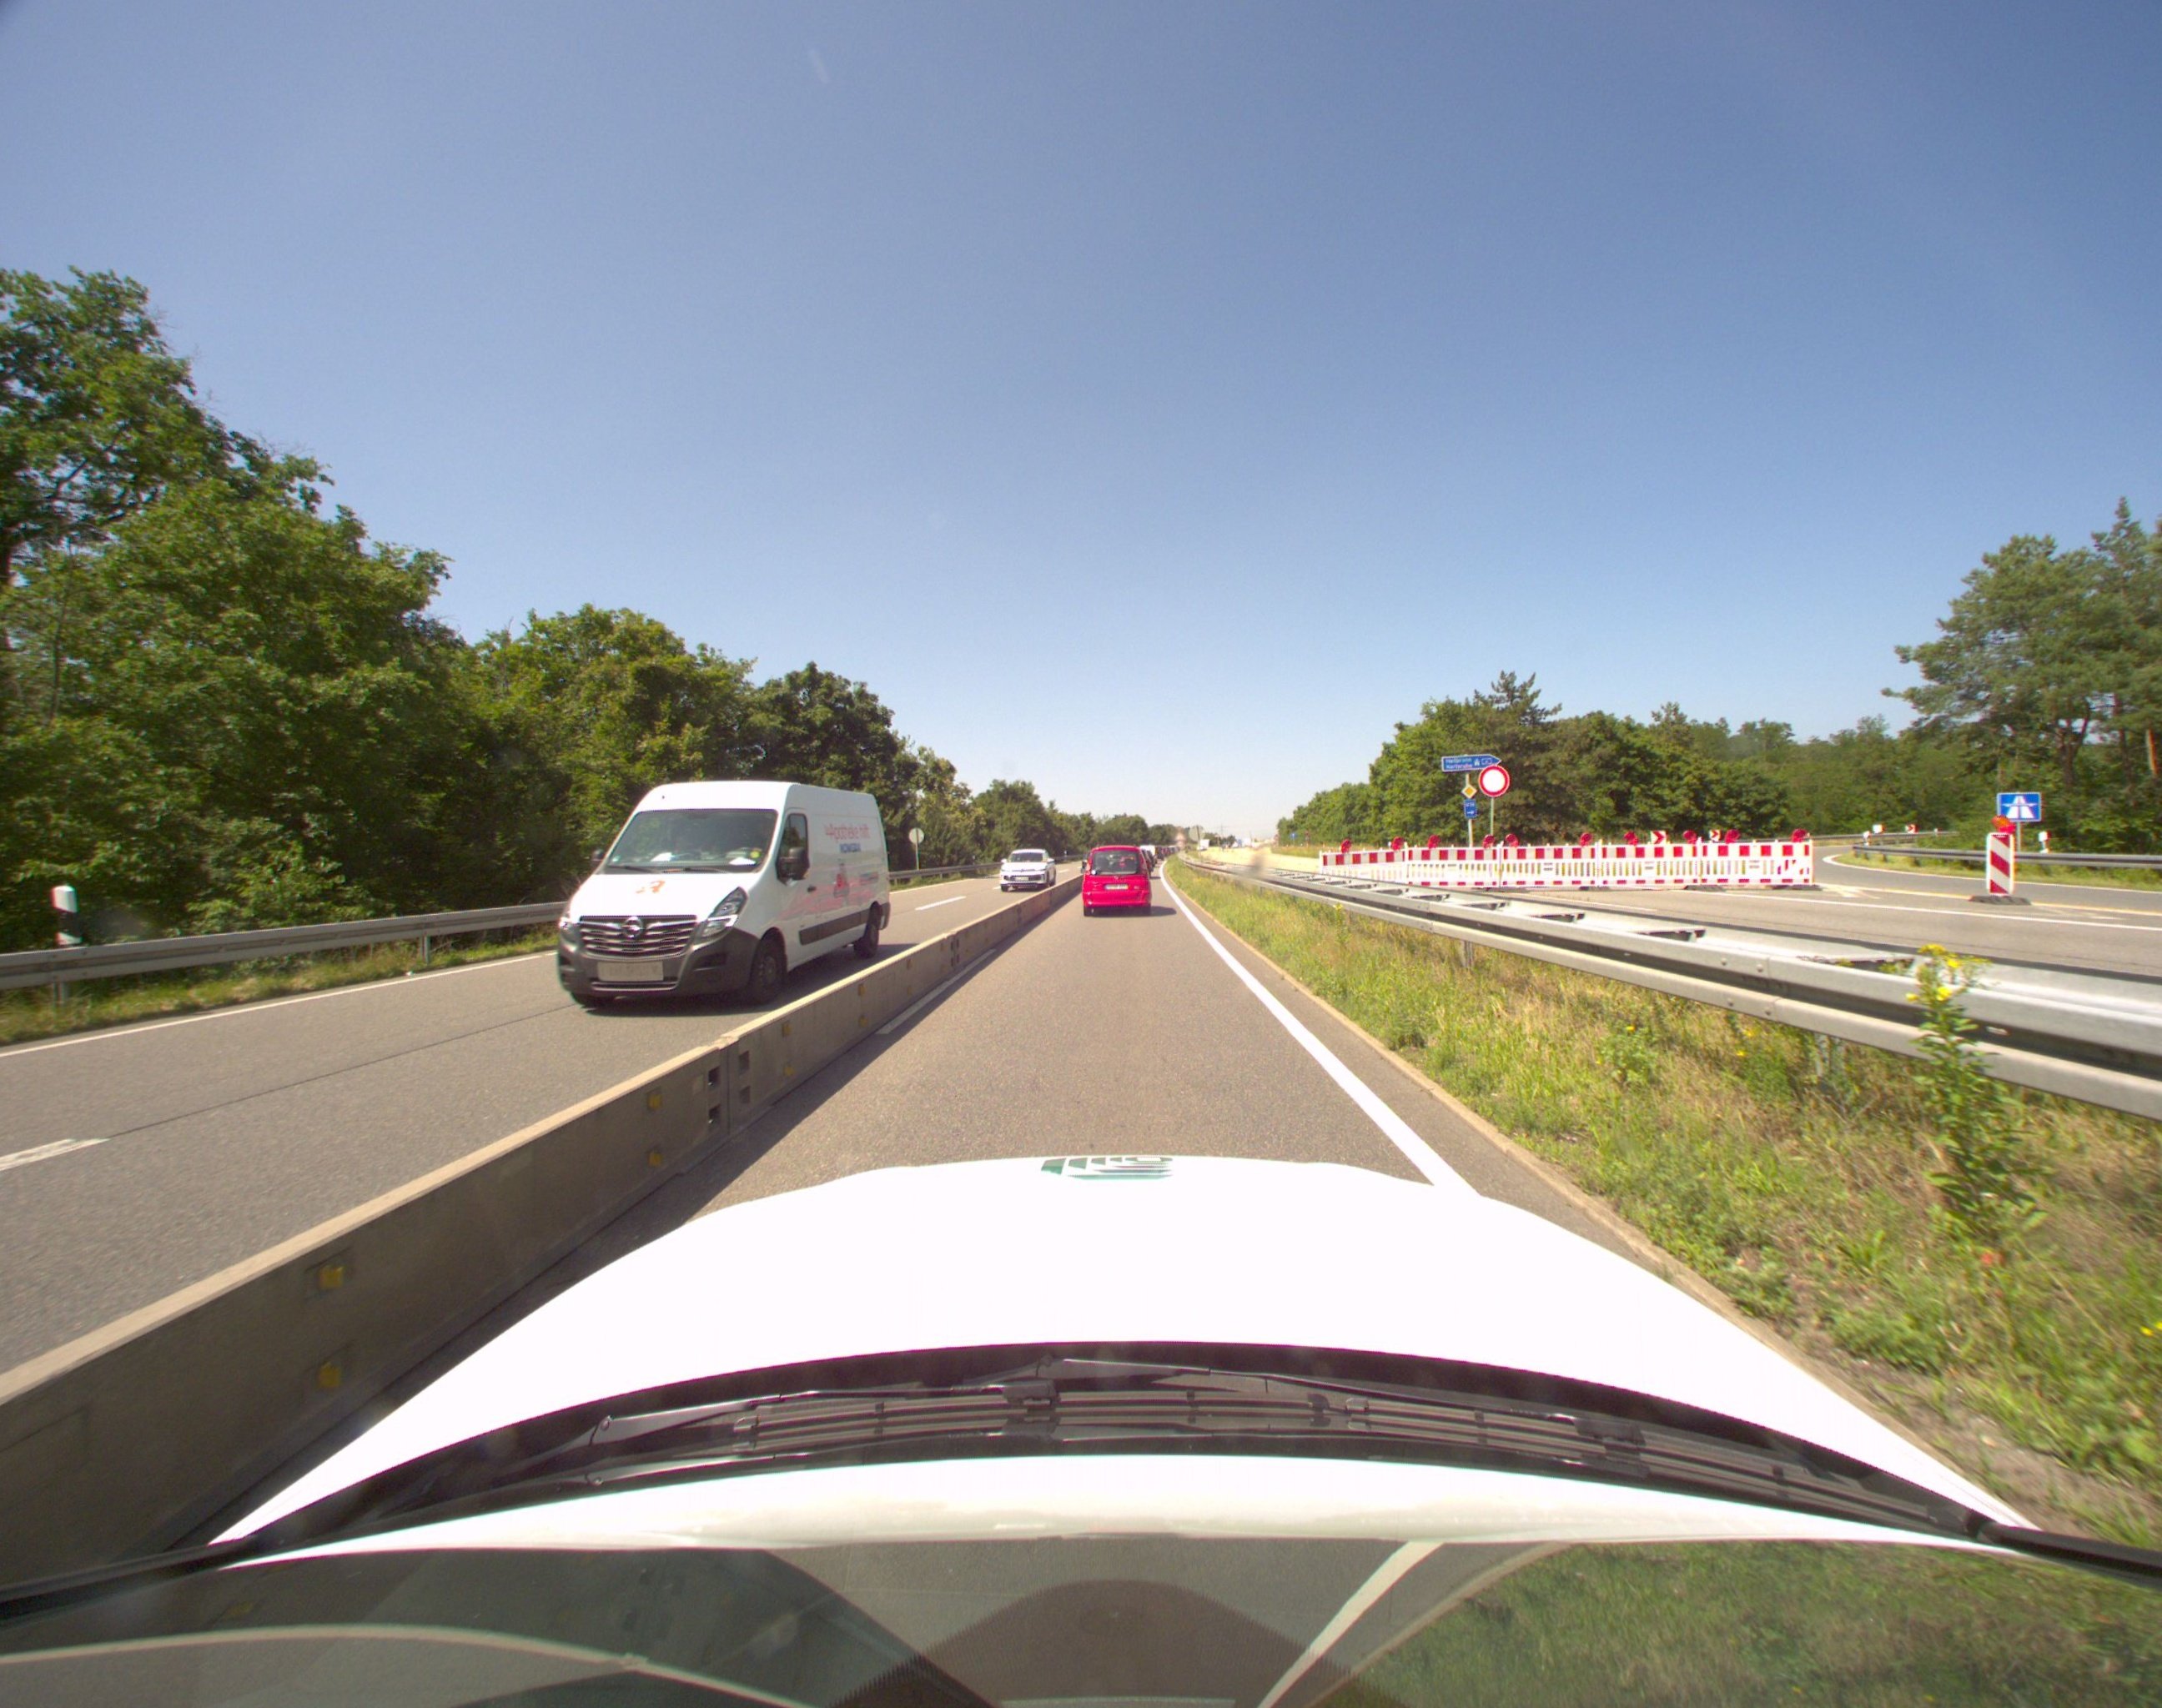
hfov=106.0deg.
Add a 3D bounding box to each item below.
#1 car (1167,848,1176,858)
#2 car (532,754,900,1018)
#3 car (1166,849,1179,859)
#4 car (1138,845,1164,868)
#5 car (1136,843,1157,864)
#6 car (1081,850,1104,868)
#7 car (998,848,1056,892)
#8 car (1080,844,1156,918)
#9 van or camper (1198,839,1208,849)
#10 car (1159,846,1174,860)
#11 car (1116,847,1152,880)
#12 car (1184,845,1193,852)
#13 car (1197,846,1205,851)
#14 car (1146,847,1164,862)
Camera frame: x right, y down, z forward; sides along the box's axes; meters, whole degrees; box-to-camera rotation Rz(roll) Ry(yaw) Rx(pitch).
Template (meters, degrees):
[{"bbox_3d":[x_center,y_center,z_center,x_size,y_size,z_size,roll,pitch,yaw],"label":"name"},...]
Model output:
[{"bbox_3d":[15.737,-0.196,141.551,1.493,1.736,3.178,-1,0,8],"label":"car"},{"bbox_3d":[-4.095,0.296,10.530,2.054,2.485,5.563,-1,0,2],"label":"car"},{"bbox_3d":[14.624,-0.051,130.167,1.984,1.585,4.006,-1,0,6],"label":"car"},{"bbox_3d":[5.845,0.224,68.122,1.985,1.838,4.003,-2,0,3],"label":"car"},{"bbox_3d":[6.550,-0.012,81.362,1.984,2.003,4.006,-2,0,5],"label":"car"},{"bbox_3d":[1.031,0.429,68.480,1.808,1.424,4.110,-1,0,2],"label":"car"},{"bbox_3d":[-2.091,0.594,32.931,1.841,1.601,4.324,-2,0,2],"label":"car"},{"bbox_3d":[0.971,0.591,20.726,1.744,1.673,4.004,0,1,3],"label":"car"},{"bbox_3d":[34.885,-2.738,232.985,2.316,2.706,4.601,-2,0,6],"label":"van or camper"},{"bbox_3d":[12.159,-0.148,115.859,1.985,1.783,4.004,-2,0,3],"label":"car"},{"bbox_3d":[2.851,0.477,43.953,1.822,1.722,4.004,0,0,3],"label":"car"},{"bbox_3d":[24.757,-1.273,187.940,1.982,1.552,4.009,-2,0,8],"label":"car"},{"bbox_3d":[32.536,-1.505,220.737,1.983,1.486,4.008,-2,0,7],"label":"car"},{"bbox_3d":[8.870,0.075,97.731,1.985,1.750,4.003,-2,0,2],"label":"car"}]
